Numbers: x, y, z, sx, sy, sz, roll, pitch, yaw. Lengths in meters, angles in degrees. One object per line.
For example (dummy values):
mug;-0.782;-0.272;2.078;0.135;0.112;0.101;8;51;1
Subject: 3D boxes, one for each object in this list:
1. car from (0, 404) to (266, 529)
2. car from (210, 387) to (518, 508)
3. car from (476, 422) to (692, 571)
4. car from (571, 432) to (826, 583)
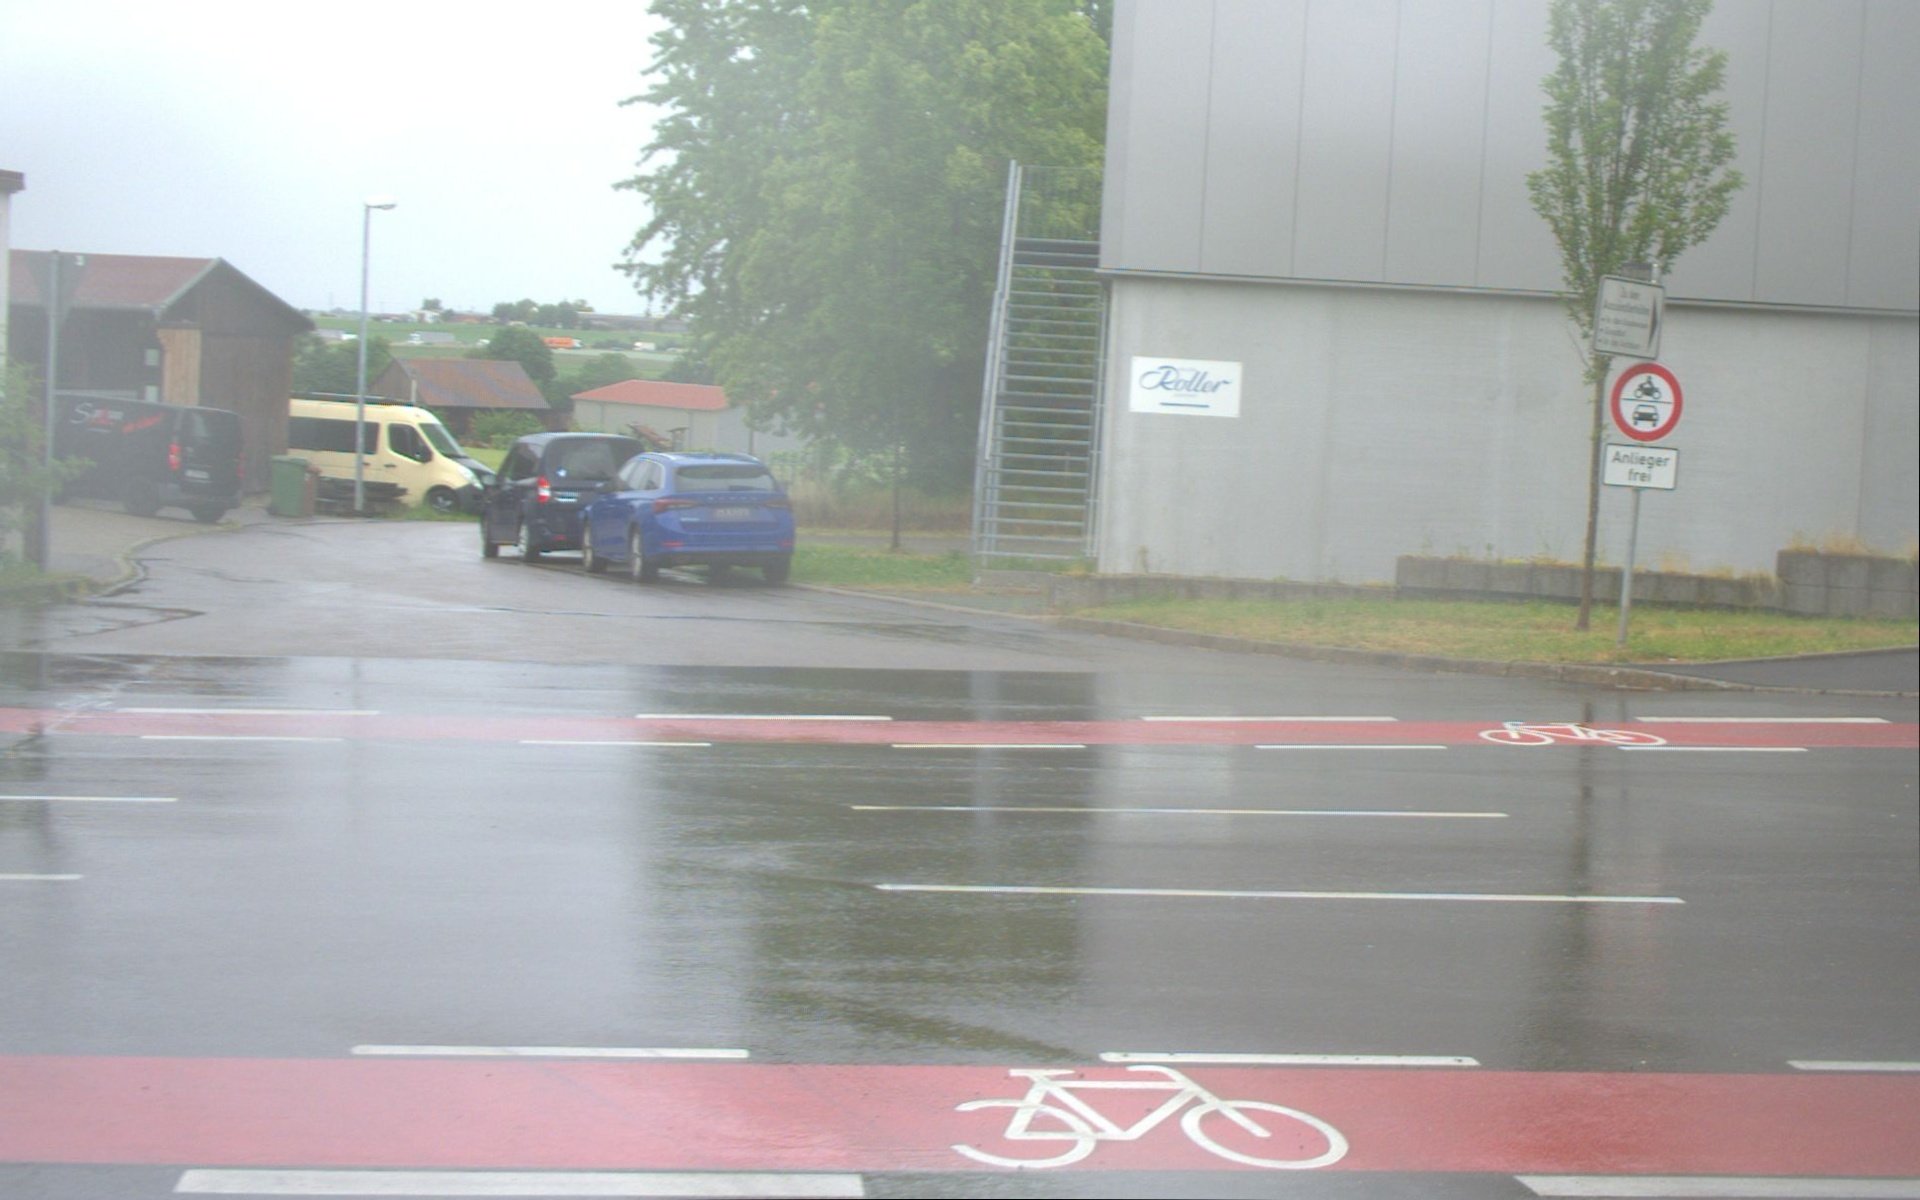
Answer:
car;-13.656;-2.177;55.945;4.403;1.898;1.997;3;2;31
car;-12.765;-3.259;73.820;6.011;2.406;2.462;2;2;9
car;-5.069;-1.393;45.835;2.073;1.828;4.472;1;2;-16
car;-3.106;-1.092;39.894;1.951;1.604;4.448;1;2;-17
